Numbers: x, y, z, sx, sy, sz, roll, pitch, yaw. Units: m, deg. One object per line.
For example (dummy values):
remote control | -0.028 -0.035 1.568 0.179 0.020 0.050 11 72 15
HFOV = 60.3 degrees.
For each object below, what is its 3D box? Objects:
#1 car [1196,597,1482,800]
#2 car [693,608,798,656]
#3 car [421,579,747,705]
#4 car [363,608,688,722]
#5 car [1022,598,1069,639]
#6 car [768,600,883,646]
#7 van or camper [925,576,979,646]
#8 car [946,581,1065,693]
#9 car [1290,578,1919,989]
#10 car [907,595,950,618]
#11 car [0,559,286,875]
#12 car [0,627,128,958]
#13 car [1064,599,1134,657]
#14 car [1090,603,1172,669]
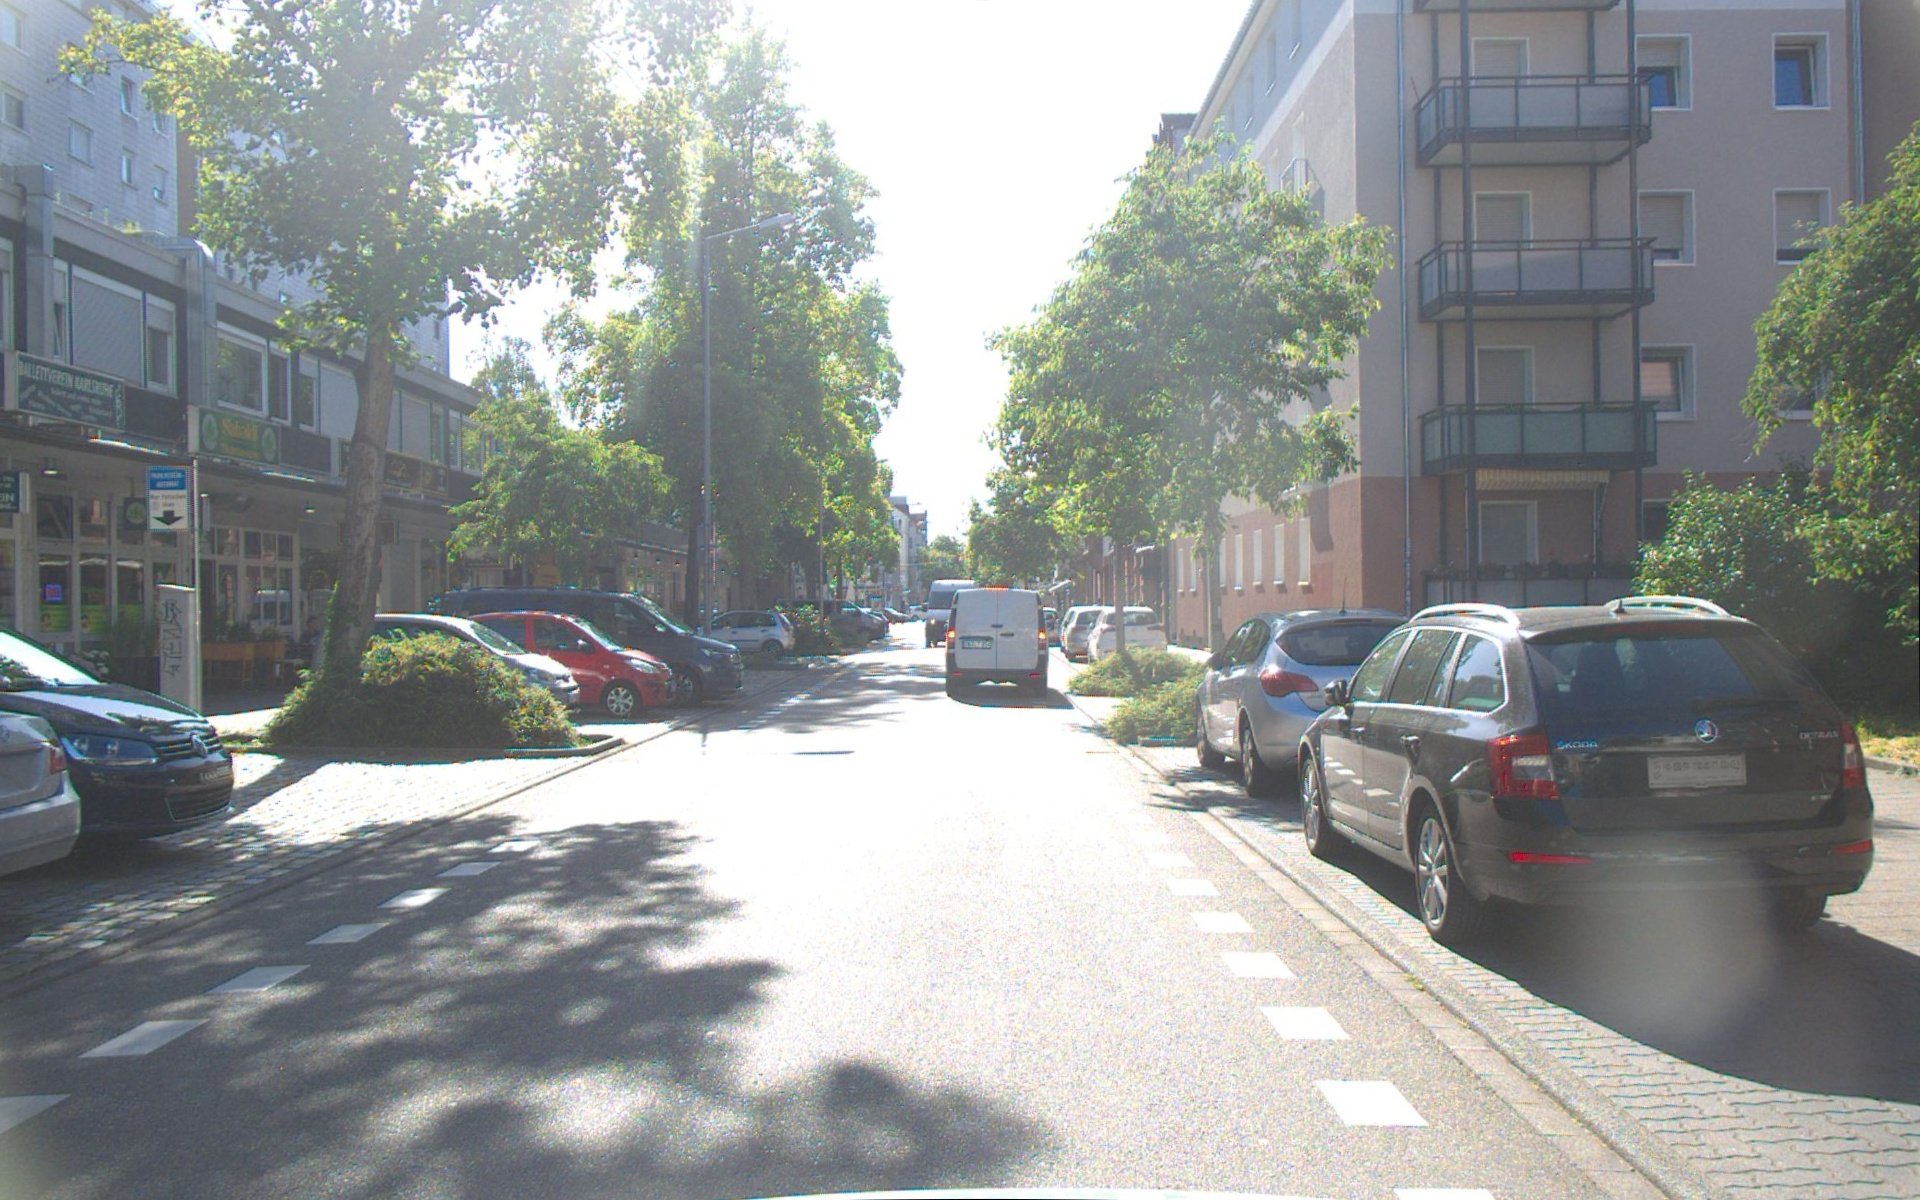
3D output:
car | 3.199 0.763 14.698 1.704 1.546 3.858 -1 0 1
car | -6.576 0.965 50.950 3.036 1.433 1.661 0 0 -1
car | -6.261 0.684 27.931 5.106 2.016 1.661 0 0 -1
car | -6.585 0.966 25.375 4.532 1.638 1.661 0 0 -1
car | 3.322 0.723 64.986 1.704 1.546 3.858 -1 0 1
car | -6.135 1.039 75.818 5.106 2.016 1.661 0 0 -1
van or camper | -0.284 0.411 64.128 1.952 2.518 5.820 -1 0 0
car | 0.776 0.635 31.639 2.058 1.941 5.424 -1 0 0
car | 3.010 0.717 8.601 1.746 1.546 4.309 -2 0 1
car | -2.959 0.596 153.966 3.908 2.049 1.998 -1 0 -4
car | -6.954 0.698 10.554 4.532 1.836 1.837 0 0 -1
car | -6.758 0.923 7.951 4.561 1.520 1.827 0 0 -1
car | 3.920 0.762 47.129 1.704 1.546 3.858 -1 0 1
car | 4.234 0.855 41.457 1.704 1.546 3.858 -1 0 1
